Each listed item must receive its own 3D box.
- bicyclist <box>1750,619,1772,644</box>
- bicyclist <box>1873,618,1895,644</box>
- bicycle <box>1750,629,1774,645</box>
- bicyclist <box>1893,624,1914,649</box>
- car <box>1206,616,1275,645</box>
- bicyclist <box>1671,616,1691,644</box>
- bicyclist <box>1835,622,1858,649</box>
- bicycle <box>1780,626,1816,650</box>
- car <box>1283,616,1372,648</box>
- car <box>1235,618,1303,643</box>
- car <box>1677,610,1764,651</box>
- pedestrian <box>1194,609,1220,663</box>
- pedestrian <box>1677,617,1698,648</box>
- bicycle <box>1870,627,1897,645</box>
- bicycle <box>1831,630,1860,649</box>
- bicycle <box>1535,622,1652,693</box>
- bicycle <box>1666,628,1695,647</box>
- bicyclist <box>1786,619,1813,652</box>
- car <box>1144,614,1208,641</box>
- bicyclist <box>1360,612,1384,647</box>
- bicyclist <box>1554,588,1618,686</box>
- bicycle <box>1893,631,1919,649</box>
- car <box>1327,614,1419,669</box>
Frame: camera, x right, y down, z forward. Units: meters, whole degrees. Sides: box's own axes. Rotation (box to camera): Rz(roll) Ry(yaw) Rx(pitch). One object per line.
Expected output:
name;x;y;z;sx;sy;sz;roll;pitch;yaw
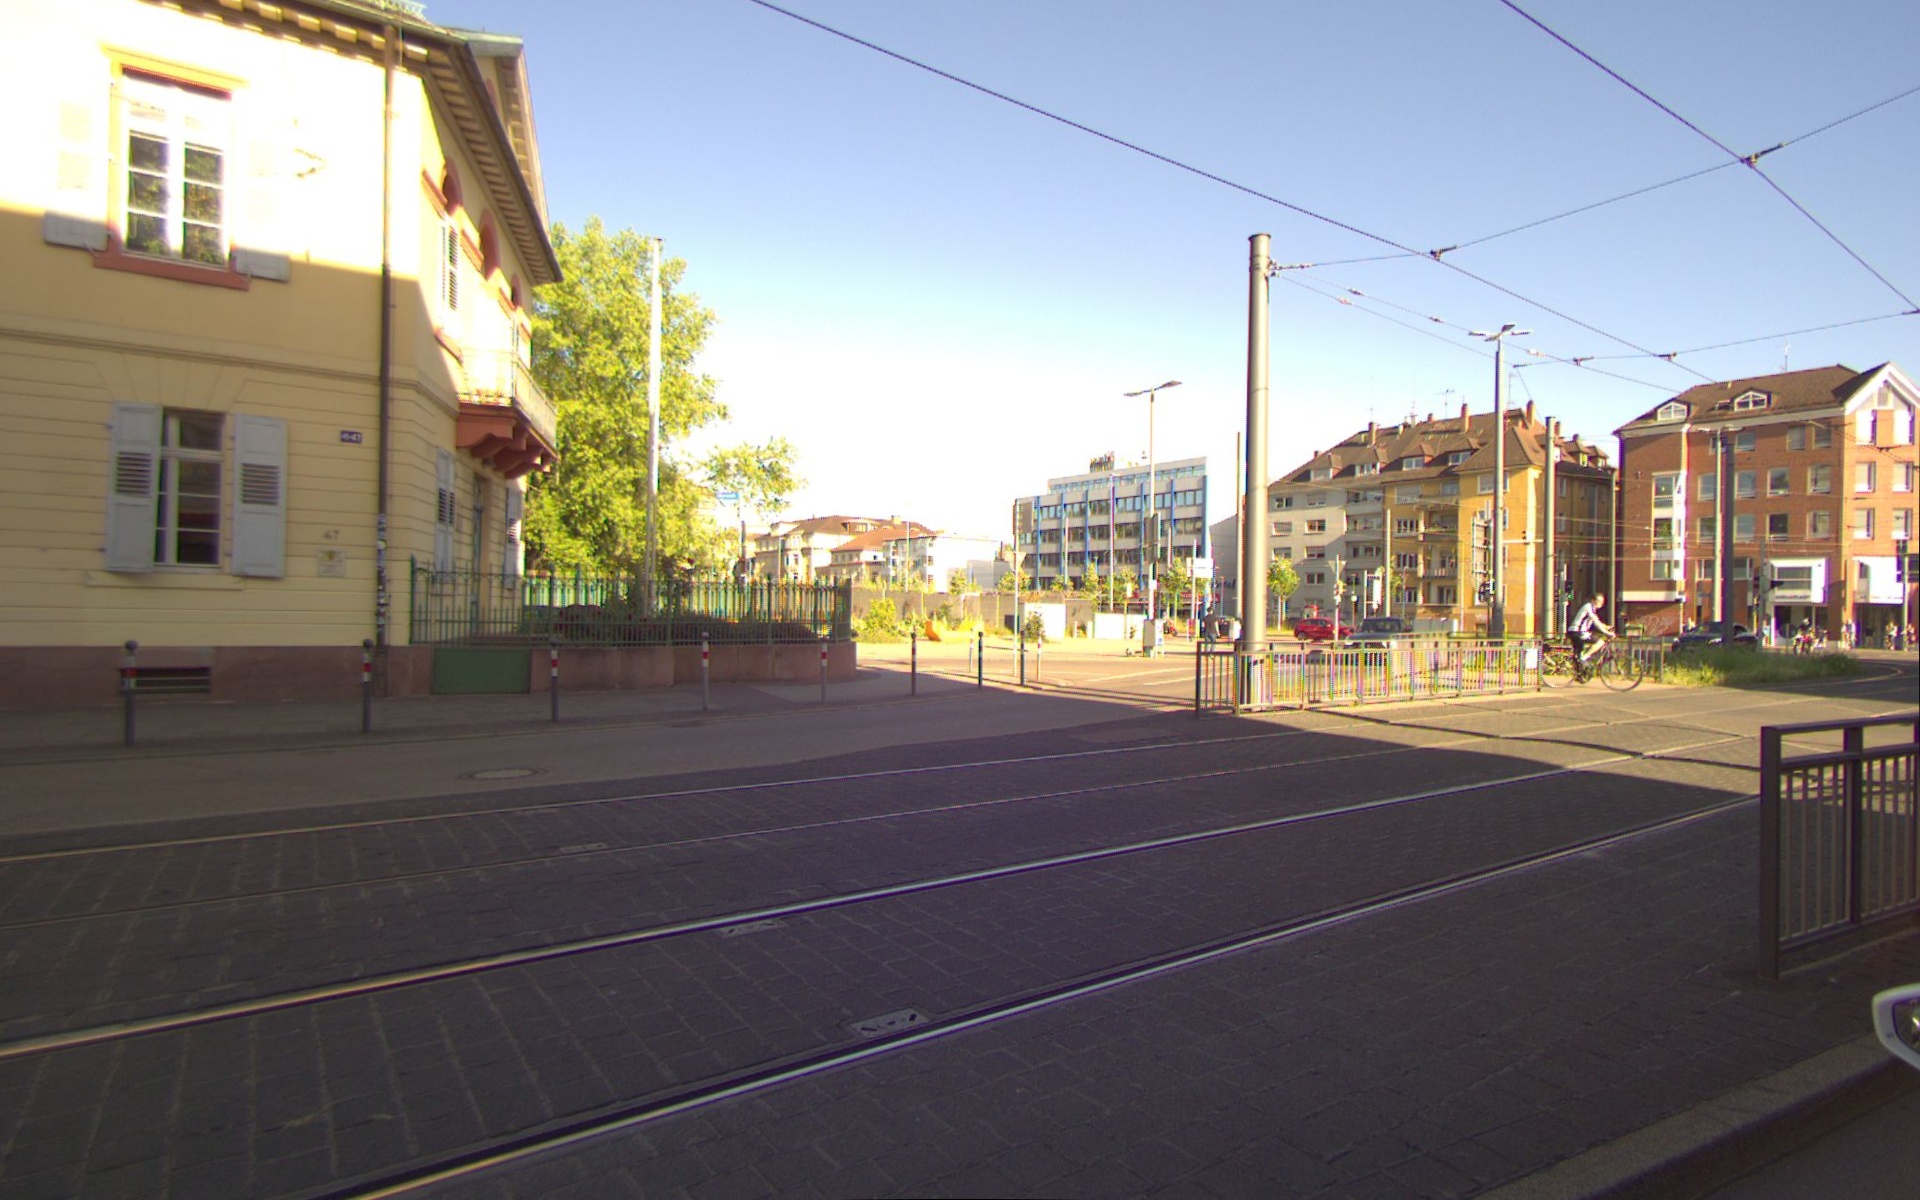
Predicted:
bicyclist;50.336;1.978;63.111;0.958;1.490;0.702;1;0;-22
bicyclist;57.637;1.903;62.682;0.737;1.584;0.781;2;0;-27
bicycle;50.428;2.340;63.144;1.669;0.994;0.403;2;0;-22
bicyclist;59.917;2.322;63.817;0.737;1.584;0.781;1;0;-28
car;18.000;1.938;64.578;1.762;1.694;3.955;2;0;-39
bicyclist;39.735;1.647;55.377;0.688;1.523;0.630;2;0;-30
bicyclist;52.764;2.119;59.800;0.737;1.584;0.781;2;0;-28
bicycle;39.854;1.794;47.775;2.172;1.108;0.457;2;0;-26
car;21.870;1.882;59.891;1.984;1.723;4.545;2;0;-41
car;20.428;2.019;66.572;1.781;1.503;3.949;2;0;-43
car;31.330;1.265;41.353;3.996;1.547;1.699;2;0;-35
pedestrian;8.079;1.171;32.833;0.758;1.703;0.593;2;0;13
pedestrian;44.668;2.001;61.696;0.737;1.845;0.781;2;0;-28
bicycle;57.629;2.275;62.676;2.255;1.103;0.527;1;-1;-28
bicycle;52.631;2.351;59.707;2.197;1.103;0.535;2;0;-28
bicycle;11.946;1.075;18.973;1.817;1.238;0.486;2;0;7
bicycle;39.716;2.063;55.359;2.220;0.984;0.444;2;0;-31
bicyclist;39.965;1.696;47.844;0.581;1.547;0.783;2;0;-25
car;14.742;1.867;68.567;1.895;1.708;3.916;2;0;-41
bicyclist;22.302;1.598;54.349;0.785;1.832;0.892;2;0;-43
bicyclist;11.813;0.685;18.969;0.738;1.783;0.759;2;0;8
bicycle;60.294;2.552;63.992;2.255;1.103;0.527;2;0;-28
car;12.779;1.238;30.985;1.619;1.546;3.850;2;0;38
